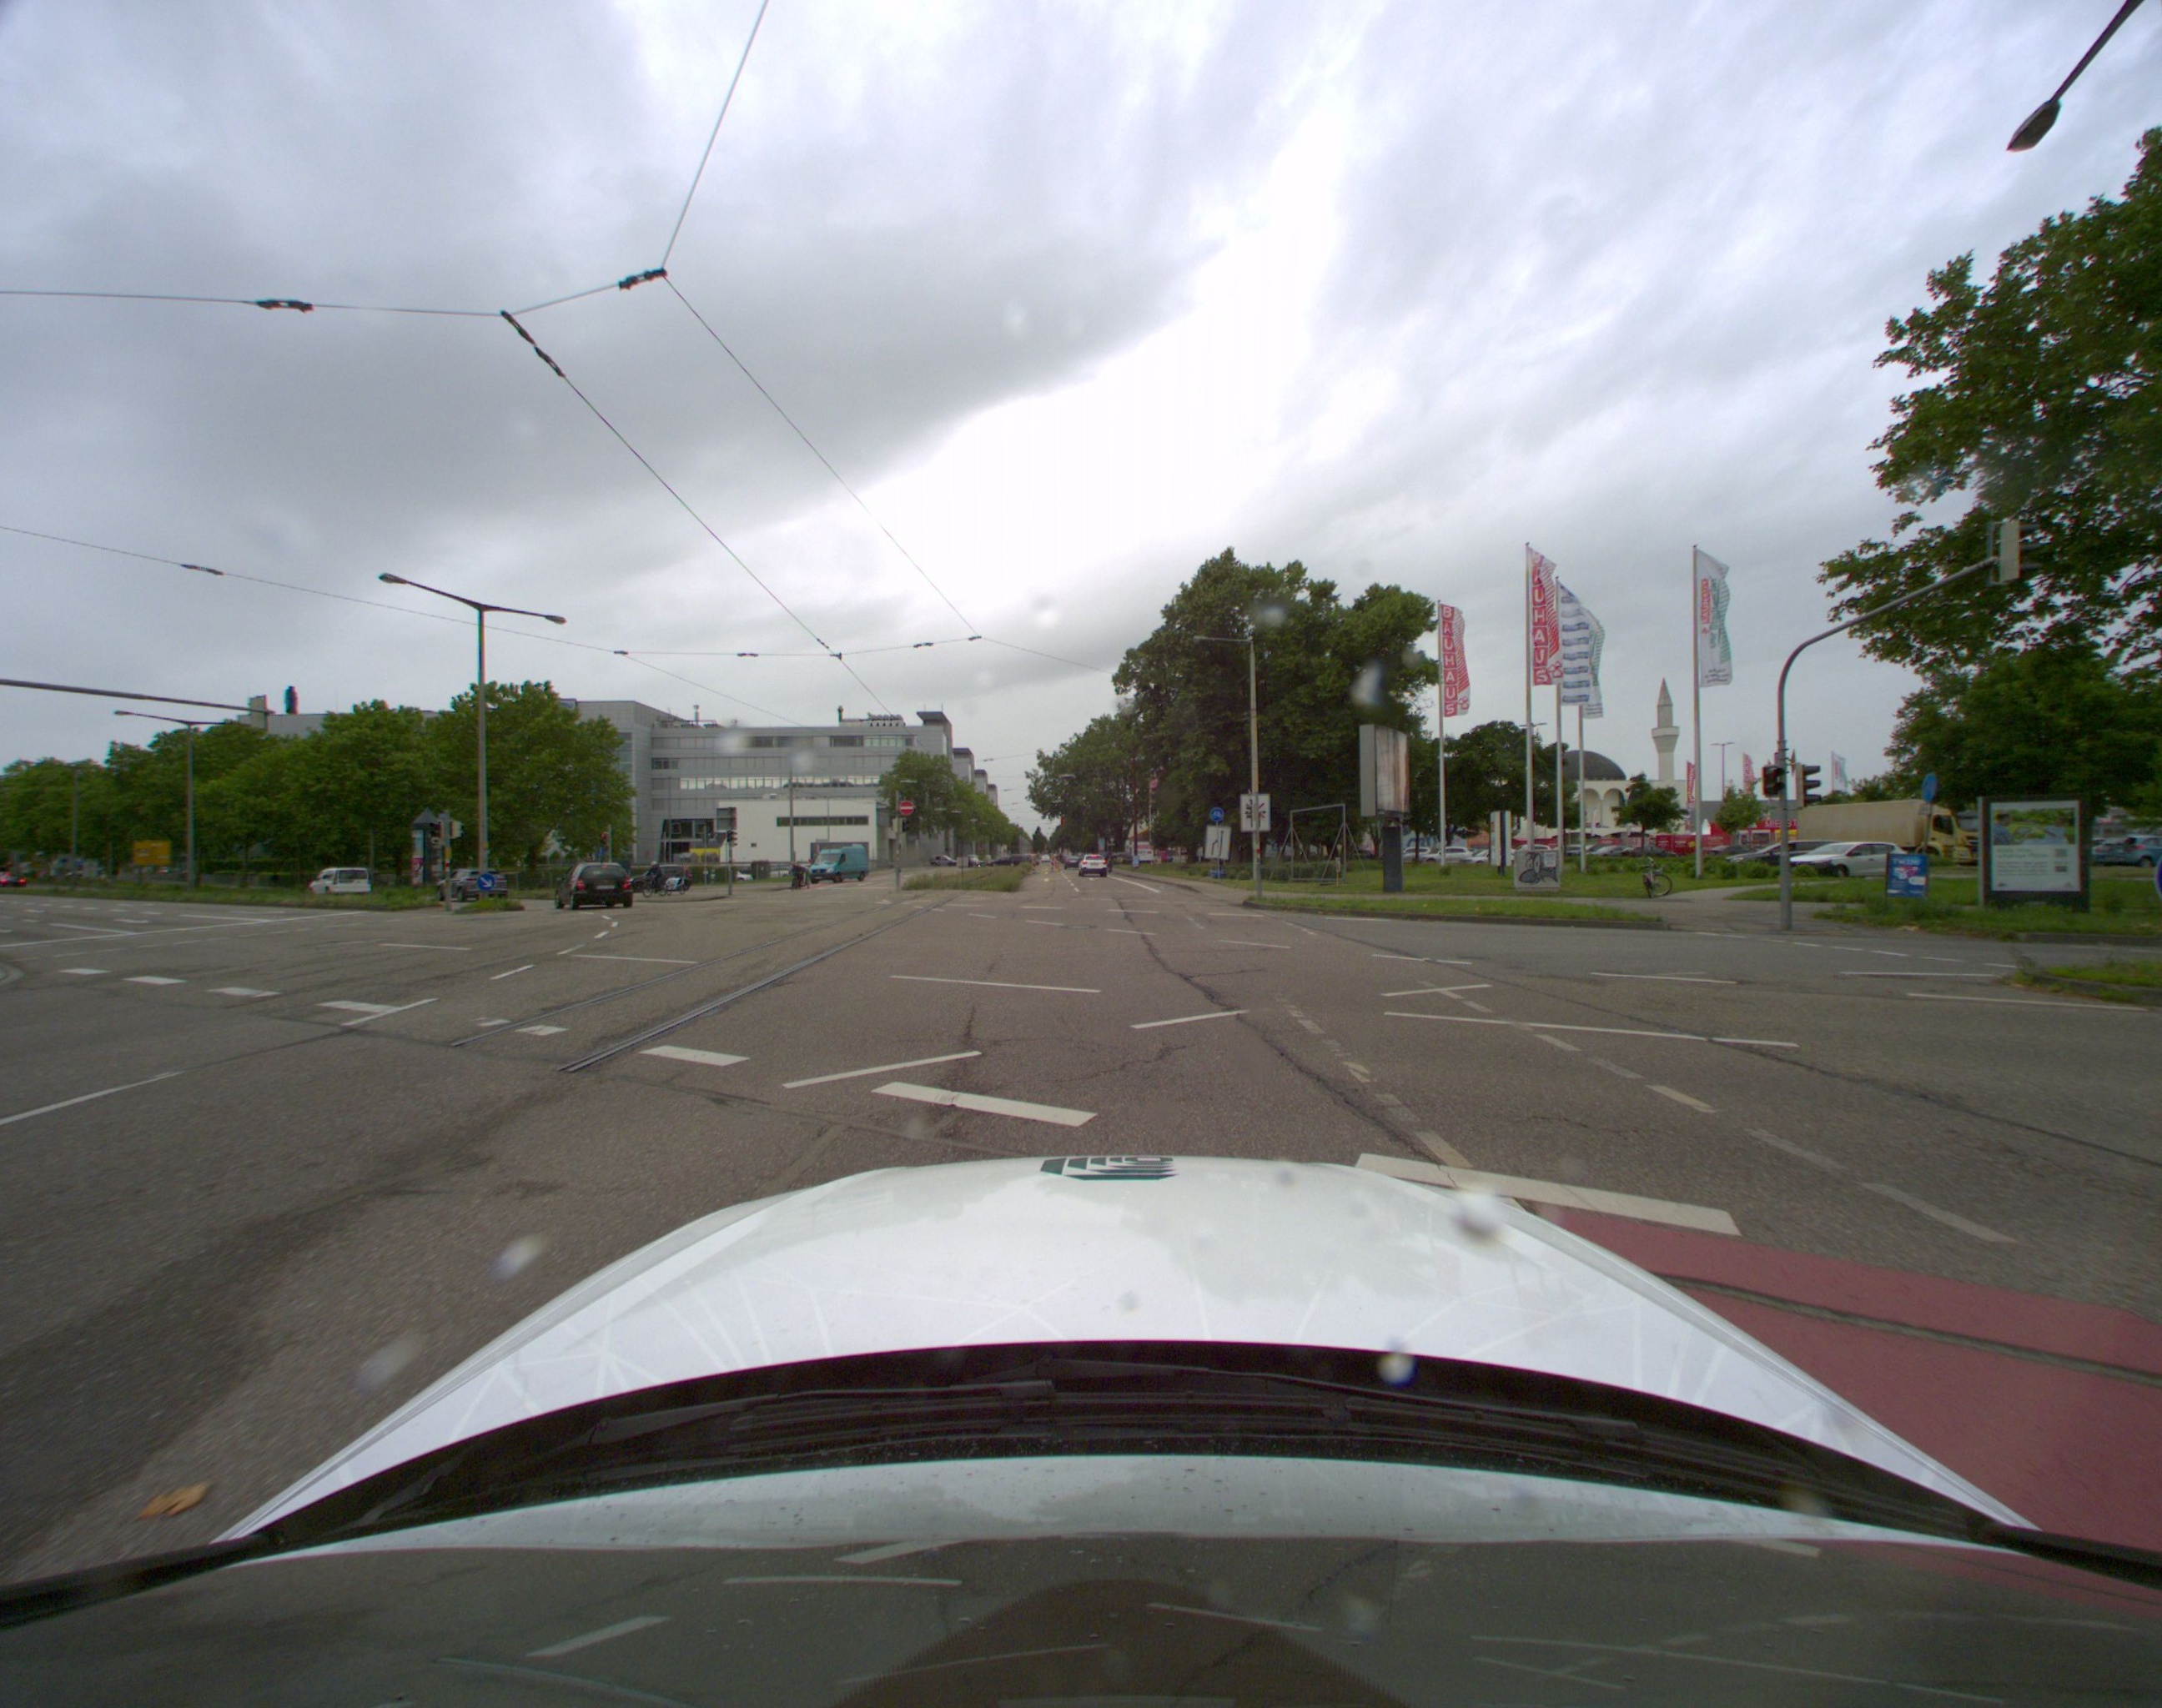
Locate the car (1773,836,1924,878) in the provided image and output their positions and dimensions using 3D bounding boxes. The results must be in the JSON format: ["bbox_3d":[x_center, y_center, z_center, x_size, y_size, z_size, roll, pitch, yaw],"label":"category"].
[{"bbox_3d":[28.936,0.126,30.770,4.216,1.497,1.927,1,-1,-7],"label":"car"}]

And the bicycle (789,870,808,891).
[{"bbox_3d":[-15.545,1.443,44.843,0.645,1.062,2.018,1,0,-9],"label":"bicycle"}]

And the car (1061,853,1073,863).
[{"bbox_3d":[-2.293,0.651,132.990,1.873,1.632,3.994,-2,0,-4],"label":"car"}]

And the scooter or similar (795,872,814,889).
[{"bbox_3d":[-15.804,1.497,46.552,0.843,0.907,1.194,1,0,-9],"label":"scooter or similar"}]

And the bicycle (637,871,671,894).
[{"bbox_3d":[-20.820,1.375,39.746,0.643,1.062,2.000,1,0,0],"label":"bicycle"}]

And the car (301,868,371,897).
[{"bbox_3d":[-44.478,1.659,48.561,4.946,1.527,1.981,0,0,34],"label":"car"}]

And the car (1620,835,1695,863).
[{"bbox_3d":[45.161,-0.374,63.817,4.550,2.051,2.150,-1,0,-8],"label":"car"}]

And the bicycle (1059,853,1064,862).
[{"bbox_3d":[-3.310,0.617,137.643,0.670,1.394,2.163,0,0,-5],"label":"bicycle"}]

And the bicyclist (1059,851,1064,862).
[{"bbox_3d":[-3.321,0.408,137.786,0.670,1.815,0.758,0,0,-6],"label":"bicyclist"}]

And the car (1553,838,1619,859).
[{"bbox_3d":[43.797,-0.488,70.707,4.550,1.677,2.150,-1,0,-8],"label":"car"}]

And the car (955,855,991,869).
[{"bbox_3d":[-13.574,1.001,102.160,4.078,1.475,1.836,-3,-2,27],"label":"car"}]

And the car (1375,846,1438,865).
[{"bbox_3d":[27.029,0.097,67.762,4.526,1.497,1.955,1,-1,-7],"label":"car"}]

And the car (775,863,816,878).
[{"bbox_3d":[-31.983,1.815,91.401,3.981,1.485,1.909,-1,0,-6],"label":"car"}]

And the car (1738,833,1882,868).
[{"bbox_3d":[32.675,-0.142,36.704,4.555,1.497,1.943,0,-1,31],"label":"car"}]

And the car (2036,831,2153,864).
[{"bbox_3d":[56.964,-0.358,45.811,4.552,1.677,2.149,-1,0,-9],"label":"car"}]

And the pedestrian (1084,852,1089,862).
[{"bbox_3d":[0.872,0.576,138.330,0.760,1.705,0.680,-2,0,-8],"label":"pedestrian"}]

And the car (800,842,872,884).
[{"bbox_3d":[-17.530,0.614,58.663,2.313,2.826,5.969,-1,0,12],"label":"car"}]

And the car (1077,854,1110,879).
[{"bbox_3d":[0.825,0.823,56.174,1.821,1.600,3.768,0,0,-6],"label":"car"}]

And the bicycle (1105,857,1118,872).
[{"bbox_3d":[2.435,0.832,65.229,0.814,1.212,2.680,-1,0,-3],"label":"bicycle"}]

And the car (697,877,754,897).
[{"bbox_3d":[-31.882,2.944,73.098,4.199,1.532,1.912,-1,0,-1],"label":"car"}]

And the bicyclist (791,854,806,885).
[{"bbox_3d":[-15.543,0.865,44.891,0.645,1.683,0.683,1,0,-9],"label":"bicyclist"}]

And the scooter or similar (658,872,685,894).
[{"bbox_3d":[-20.836,1.484,41.458,0.643,1.062,1.449,1,0,-1],"label":"scooter or similar"}]

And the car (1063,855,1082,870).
[{"bbox_3d":[-0.861,0.866,84.788,1.682,1.513,3.699,0,0,-6],"label":"car"}]

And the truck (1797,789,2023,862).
[{"bbox_3d":[45.358,-1.369,45.176,2.932,3.564,9.240,1,-1,-3],"label":"truck"}]

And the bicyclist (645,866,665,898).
[{"bbox_3d":[-20.812,1.375,39.795,0.643,1.518,0.626,1,0,-1],"label":"bicyclist"}]

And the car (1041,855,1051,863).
[{"bbox_3d":[-6.885,0.946,159.083,1.793,1.513,3.699,0,0,-6],"label":"car"}]

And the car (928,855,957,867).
[{"bbox_3d":[-22.646,1.132,133.078,4.405,1.783,1.822,-1,0,-5],"label":"car"}]

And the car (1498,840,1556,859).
[{"bbox_3d":[43.214,-0.452,79.030,4.550,1.677,2.150,-1,0,-8],"label":"car"}]

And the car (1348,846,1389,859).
[{"bbox_3d":[36.775,-0.147,104.297,4.543,1.572,2.071,-1,0,-3],"label":"car"}]

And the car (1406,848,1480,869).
[{"bbox_3d":[27.564,0.367,62.098,4.666,1.497,2.167,1,-1,-5],"label":"car"}]

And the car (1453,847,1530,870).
[{"bbox_3d":[28.126,0.315,55.834,4.440,1.497,1.926,1,-1,-8],"label":"car"}]

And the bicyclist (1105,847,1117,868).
[{"bbox_3d":[2.419,0.306,65.229,0.814,1.630,1.234,-1,0,-3],"label":"bicyclist"}]

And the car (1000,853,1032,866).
[{"bbox_3d":[-8.169,0.710,102.865,3.874,1.556,1.823,1,-1,-4],"label":"car"}]

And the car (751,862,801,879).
[{"bbox_3d":[-31.957,1.763,85.365,4.520,1.634,1.909,-1,0,-6],"label":"car"}]

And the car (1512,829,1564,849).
[{"bbox_3d":[59.998,-1.958,106.950,5.730,2.537,2.071,-1,0,-3],"label":"car"}]

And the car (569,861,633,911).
[{"bbox_3d":[-16.372,1.022,27.822,1.780,1.527,3.634,0,0,-30],"label":"car"}]

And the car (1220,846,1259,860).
[{"bbox_3d":[20.345,-0.148,104.528,4.543,1.790,2.071,-1,1,-3],"label":"car"}]

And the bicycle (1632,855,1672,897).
[{"bbox_3d":[16.184,0.608,23.057,1.817,1.118,0.483,-1,0,-41],"label":"bicycle"}]

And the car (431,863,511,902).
[{"bbox_3d":[-28.607,1.292,38.179,3.622,1.652,1.790,0,0,32],"label":"car"}]

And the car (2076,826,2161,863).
[{"bbox_3d":[46.320,-0.425,35.099,4.541,1.506,1.986,-1,0,-2],"label":"car"}]
